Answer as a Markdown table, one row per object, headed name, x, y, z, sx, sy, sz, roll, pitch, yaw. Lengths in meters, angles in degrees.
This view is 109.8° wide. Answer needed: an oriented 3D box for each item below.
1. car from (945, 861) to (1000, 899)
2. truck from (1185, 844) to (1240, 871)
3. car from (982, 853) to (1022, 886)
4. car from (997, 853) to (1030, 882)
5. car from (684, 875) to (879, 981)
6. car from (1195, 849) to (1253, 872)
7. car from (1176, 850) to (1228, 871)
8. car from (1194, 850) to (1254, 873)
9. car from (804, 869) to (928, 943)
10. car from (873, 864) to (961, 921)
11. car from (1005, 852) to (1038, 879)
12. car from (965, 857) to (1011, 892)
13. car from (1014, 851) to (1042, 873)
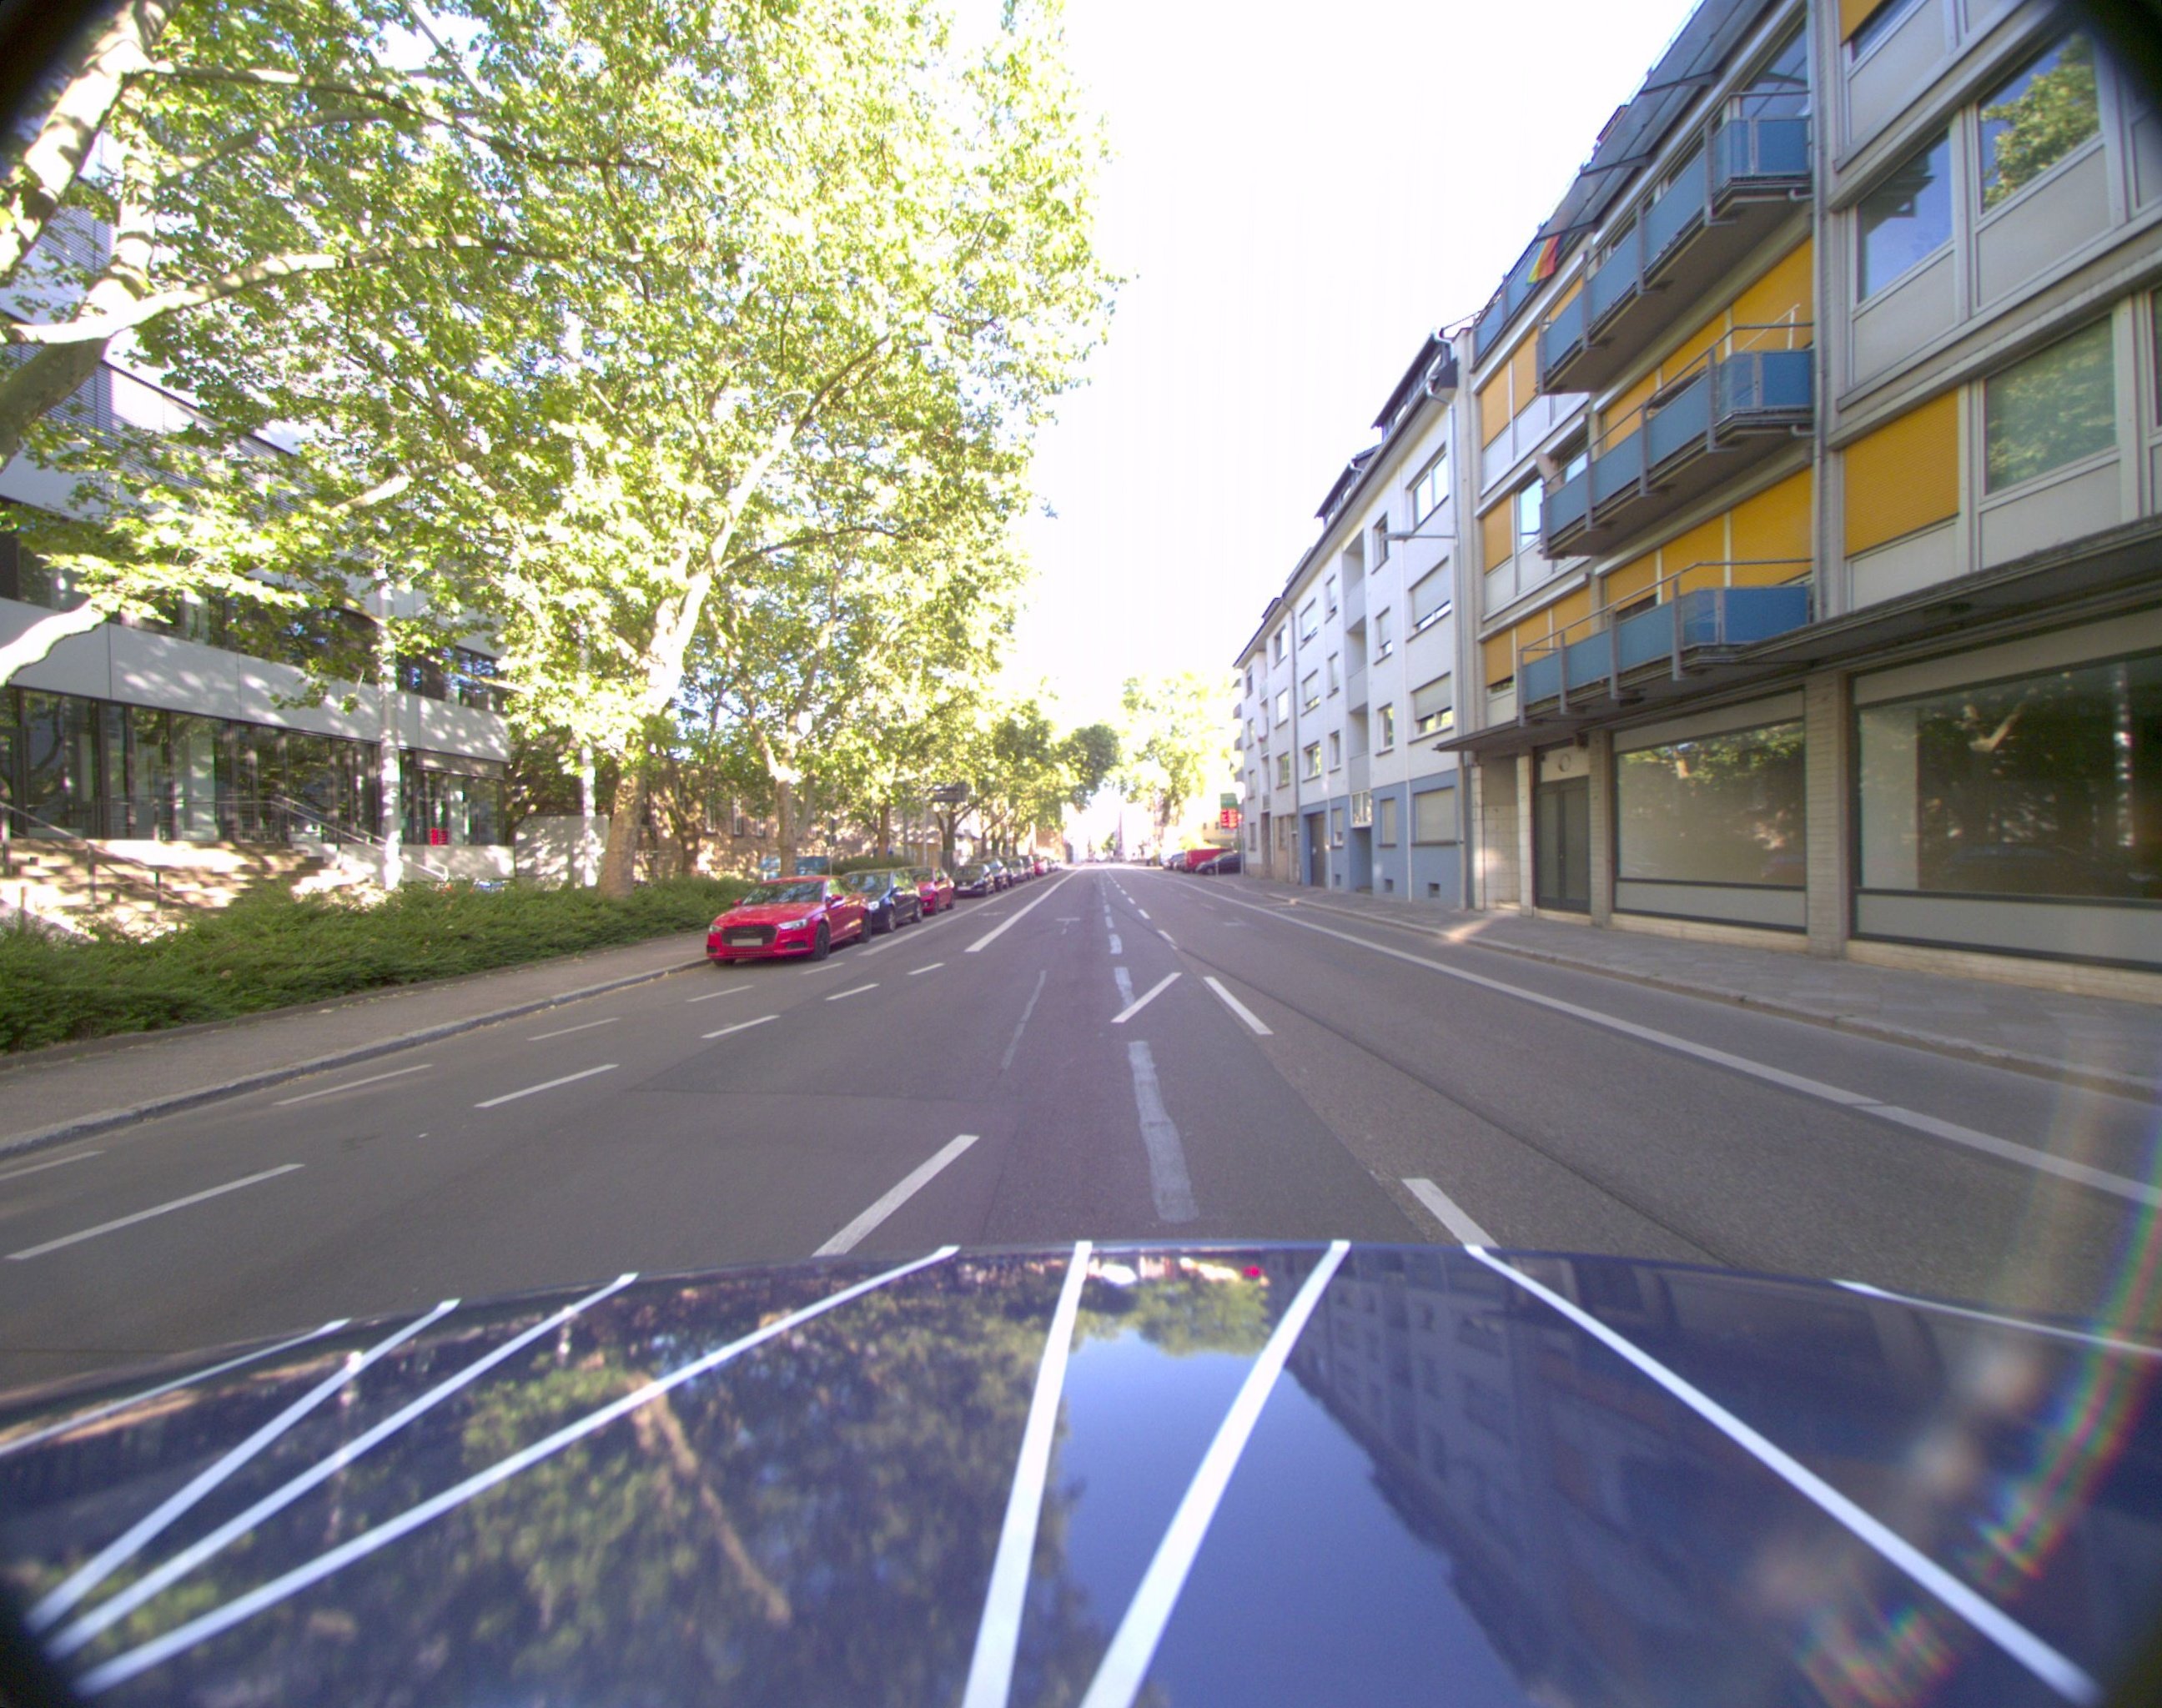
| name | x | y | z | sx | sy | sz | roll | pitch | yaw |
| --- | --- | --- | --- | --- | --- | --- | --- | --- | --- |
| car | -4.702 | 1.080 | 33.387 | 1.790 | 1.451 | 4.163 | -3 | 0 | 0 |
| truck | 10.368 | 0.250 | 59.992 | 3.996 | 1.925 | 1.761 | -2 | 1 | 2 |
| car | -4.524 | 0.871 | 44.149 | 1.790 | 1.745 | 4.345 | -3 | 0 | 0 |
| car | -4.446 | 0.855 | 50.705 | 1.790 | 1.745 | 4.552 | -3 | 0 | 0 |
| car | -5.138 | 1.195 | 13.721 | 1.818 | 1.405 | 4.163 | -3 | 0 | 0 |
| car | 10.728 | 0.484 | 57.143 | 3.996 | 1.494 | 1.761 | -2 | 1 | 2 |
| car | 9.978 | 0.530 | 62.845 | 3.996 | 1.494 | 1.761 | -2 | 1 | 2 |
| car | 10.254 | 0.550 | 54.796 | 3.996 | 1.449 | 1.761 | -2 | 1 | 2 |
| car | -5.082 | 1.172 | 18.577 | 1.818 | 1.405 | 4.163 | -3 | 0 | 0 |
| car | -5.029 | 1.126 | 23.860 | 1.818 | 1.475 | 4.163 | -3 | 0 | 0 |
| car | -4.317 | 0.799 | 55.663 | 2.042 | 1.745 | 4.552 | -3 | 0 | 0 |
| car | -4.601 | 0.981 | 38.133 | 1.790 | 1.544 | 4.163 | -3 | 0 | 0 |
| car | -4.591 | 0.702 | 66.094 | 2.042 | 1.745 | 4.552 | -3 | 0 | 0 |
